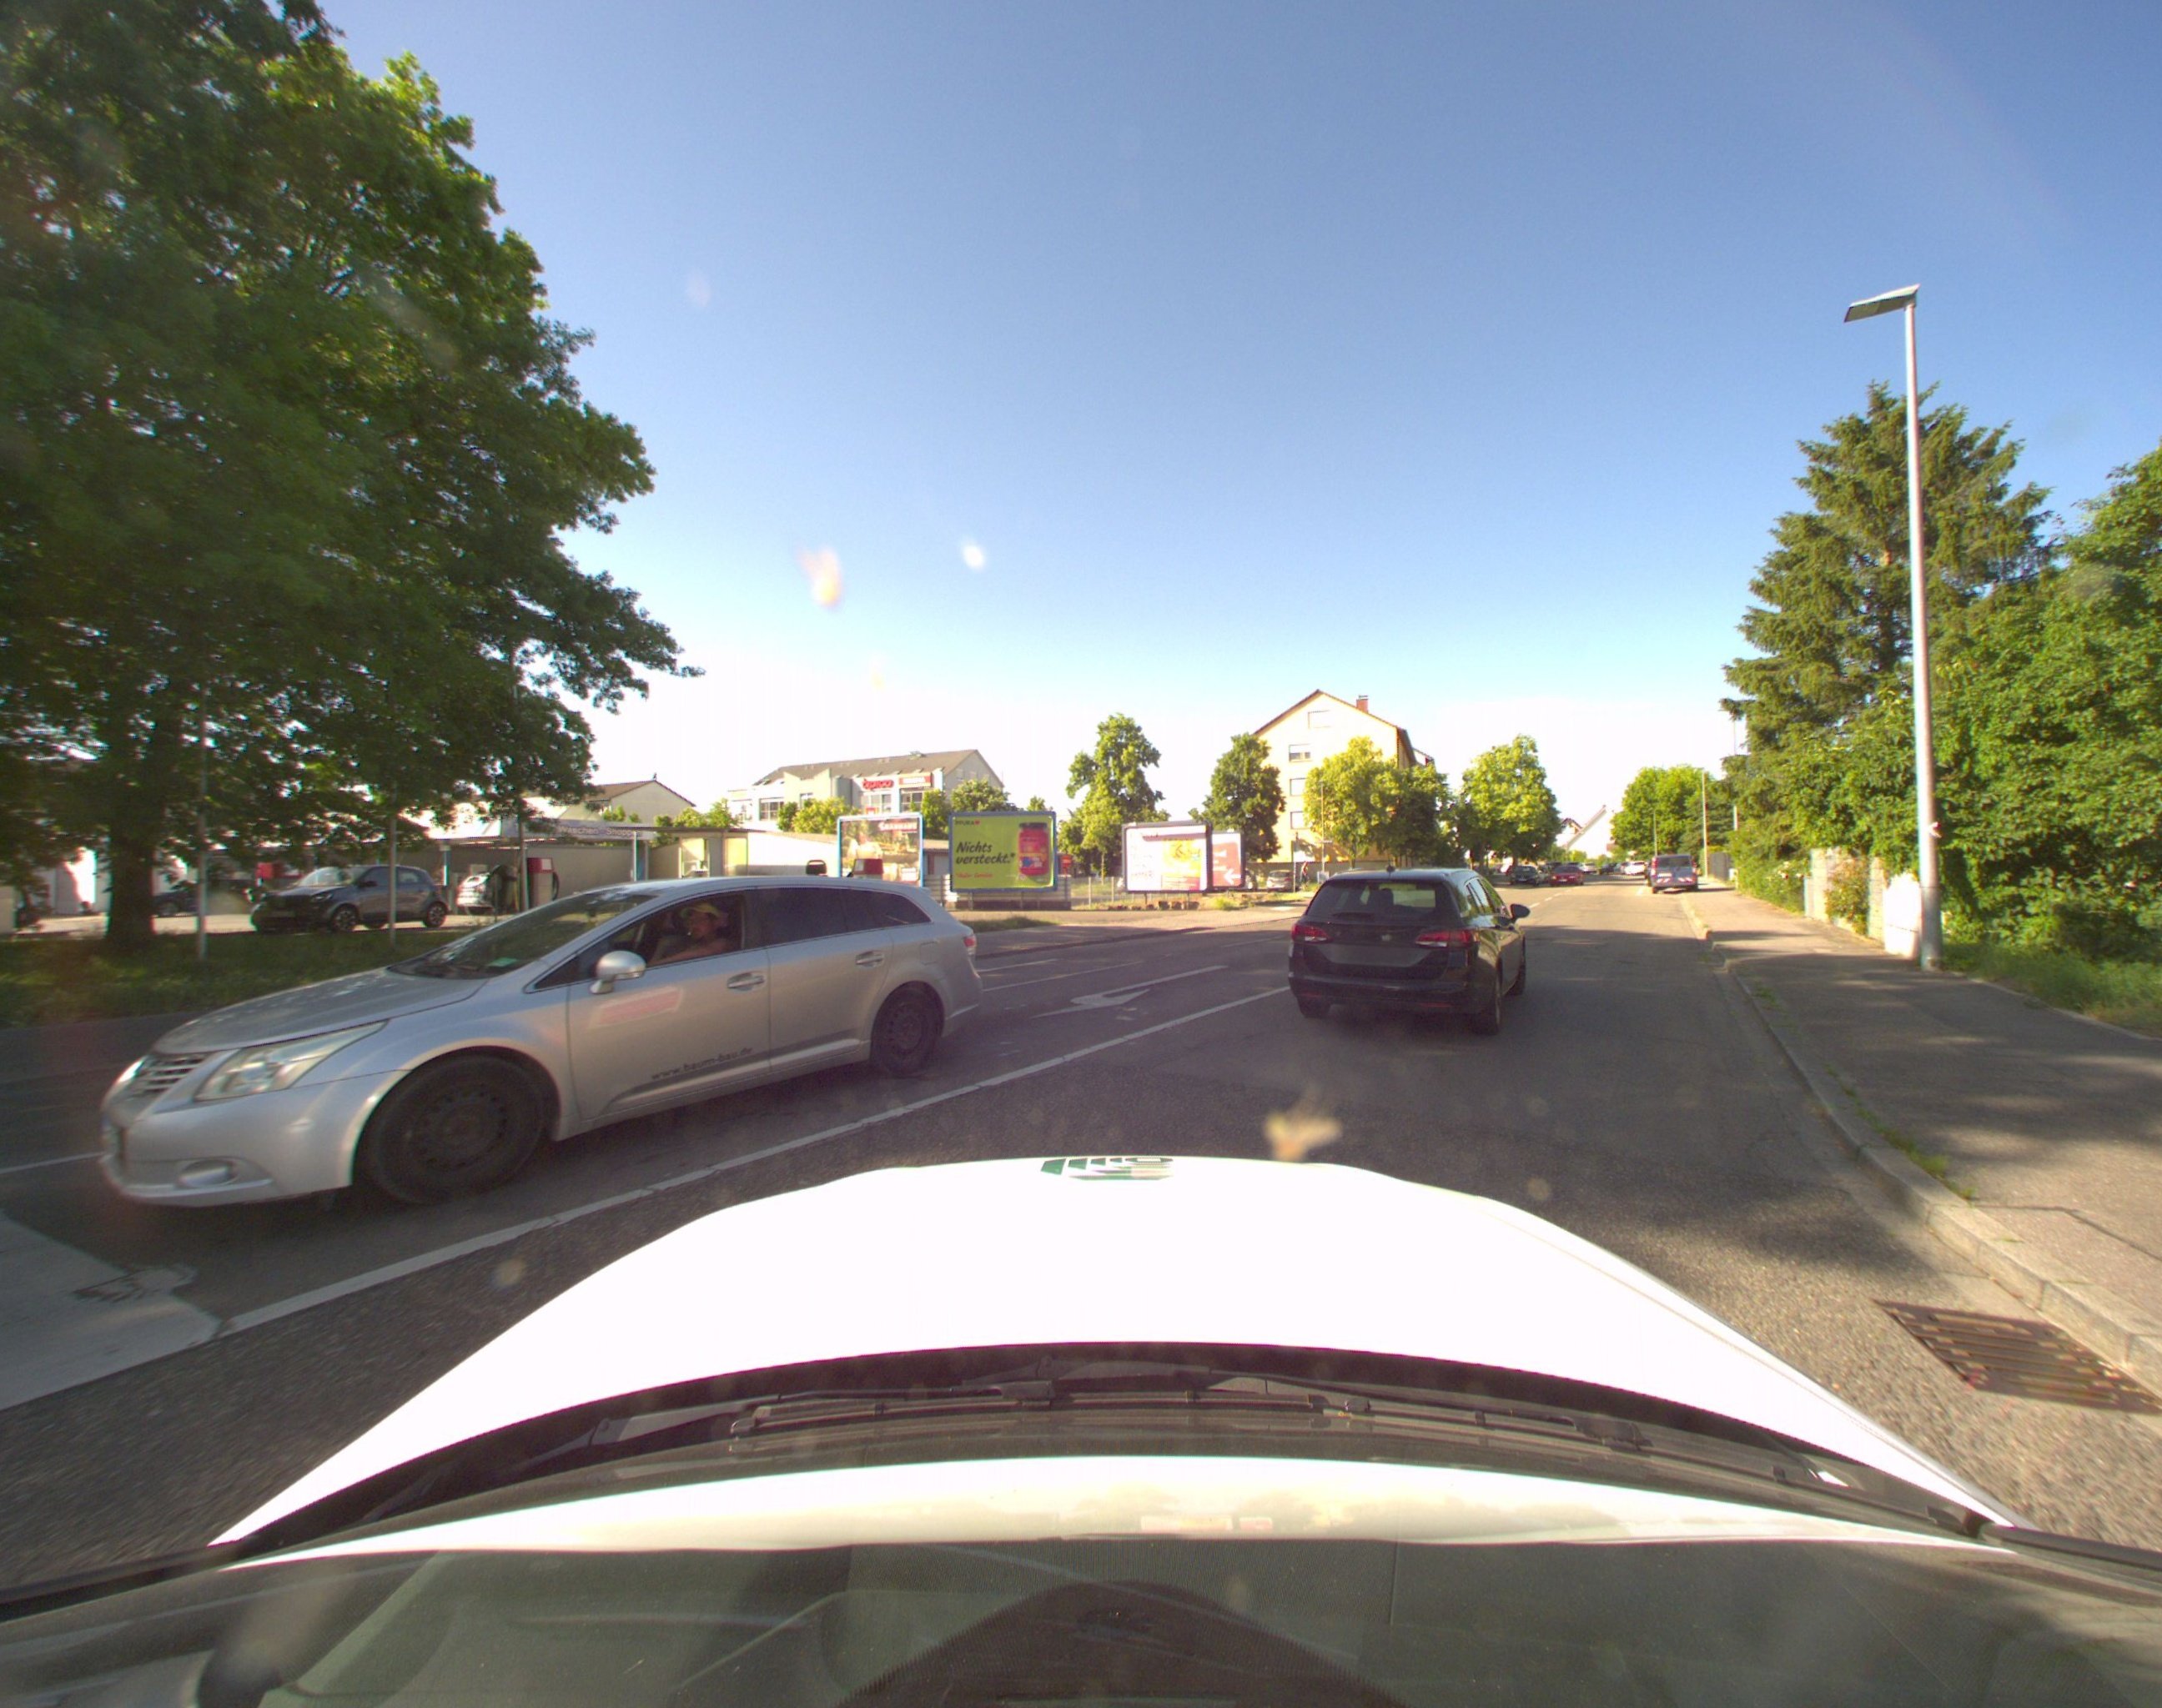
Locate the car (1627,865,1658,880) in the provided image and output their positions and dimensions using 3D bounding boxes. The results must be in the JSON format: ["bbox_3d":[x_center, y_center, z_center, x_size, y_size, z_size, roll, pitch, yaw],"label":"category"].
[{"bbox_3d":[59.379,1.974,86.202,1.745,1.480,4.316,-2,-2,21],"label":"car"}]

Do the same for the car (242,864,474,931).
[{"bbox_3d":[-16.483,1.021,18.897,1.748,1.376,3.998,-1,-3,0],"label":"car"}]

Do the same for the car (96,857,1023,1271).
[{"bbox_3d":[-2.664,0.807,5.494,1.818,1.489,4.921,-3,-2,34],"label":"car"}]

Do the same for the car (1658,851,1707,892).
[{"bbox_3d":[30.033,0.849,40.722,1.819,1.908,4.727,-1,-1,36],"label":"car"}]

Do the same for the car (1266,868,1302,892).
[{"bbox_3d":[13.725,1.708,54.822,1.713,1.464,3.902,-2,-1,23],"label":"car"}]

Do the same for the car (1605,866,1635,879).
[{"bbox_3d":[63.331,2.188,95.780,1.989,1.475,4.315,-2,-2,20],"label":"car"}]

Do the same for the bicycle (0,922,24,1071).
[{"bbox_3d":[-9.122,1.123,5.701,0.522,1.142,2.038,-2,-1,30],"label":"bicycle"}]

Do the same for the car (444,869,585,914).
[{"bbox_3d":[-21.918,1.483,31.679,1.976,1.607,4.020,-2,-4,22],"label":"car"}]

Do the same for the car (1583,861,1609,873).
[{"bbox_3d":[66.206,1.677,104.708,1.805,1.534,4.279,-2,-2,19],"label":"car"}]

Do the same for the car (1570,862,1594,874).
[{"bbox_3d":[67.683,1.968,110.055,1.805,1.534,4.279,-2,-2,19],"label":"car"}]

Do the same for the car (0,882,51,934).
[{"bbox_3d":[-28.775,1.343,19.904,1.782,1.335,4.010,-1,-3,10],"label":"car"}]

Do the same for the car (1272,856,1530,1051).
[{"bbox_3d":[3.575,0.813,8.553,1.745,1.491,4.317,-1,-2,32],"label":"car"}]

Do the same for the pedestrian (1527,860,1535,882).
[{"bbox_3d":[36.409,1.411,65.889,0.499,1.761,0.699,-3,-4,32],"label":"pedestrian"}]

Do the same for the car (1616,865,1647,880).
[{"bbox_3d":[61.083,2.083,90.410,1.895,1.601,4.315,-2,-2,20],"label":"car"}]

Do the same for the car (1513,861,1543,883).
[{"bbox_3d":[32.628,1.342,59.371,1.684,1.480,4.077,0,-2,32],"label":"car"}]

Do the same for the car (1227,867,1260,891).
[{"bbox_3d":[11.411,1.711,57.076,1.683,1.622,3.900,-2,-1,20],"label":"car"}]

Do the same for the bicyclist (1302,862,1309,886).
[{"bbox_3d":[16.045,1.418,58.315,0.386,1.686,0.382,-1,-4,4],"label":"bicyclist"}]

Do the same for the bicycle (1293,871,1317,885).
[{"bbox_3d":[16.018,1.730,58.296,1.610,1.011,0.407,-1,-4,4],"label":"bicycle"}]

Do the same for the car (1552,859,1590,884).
[{"bbox_3d":[33.524,1.174,55.653,1.992,1.568,4.421,-1,0,34],"label":"car"}]

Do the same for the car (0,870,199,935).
[{"bbox_3d":[-25.570,1.229,20.664,1.516,1.512,4.014,-1,-3,14],"label":"car"}]
